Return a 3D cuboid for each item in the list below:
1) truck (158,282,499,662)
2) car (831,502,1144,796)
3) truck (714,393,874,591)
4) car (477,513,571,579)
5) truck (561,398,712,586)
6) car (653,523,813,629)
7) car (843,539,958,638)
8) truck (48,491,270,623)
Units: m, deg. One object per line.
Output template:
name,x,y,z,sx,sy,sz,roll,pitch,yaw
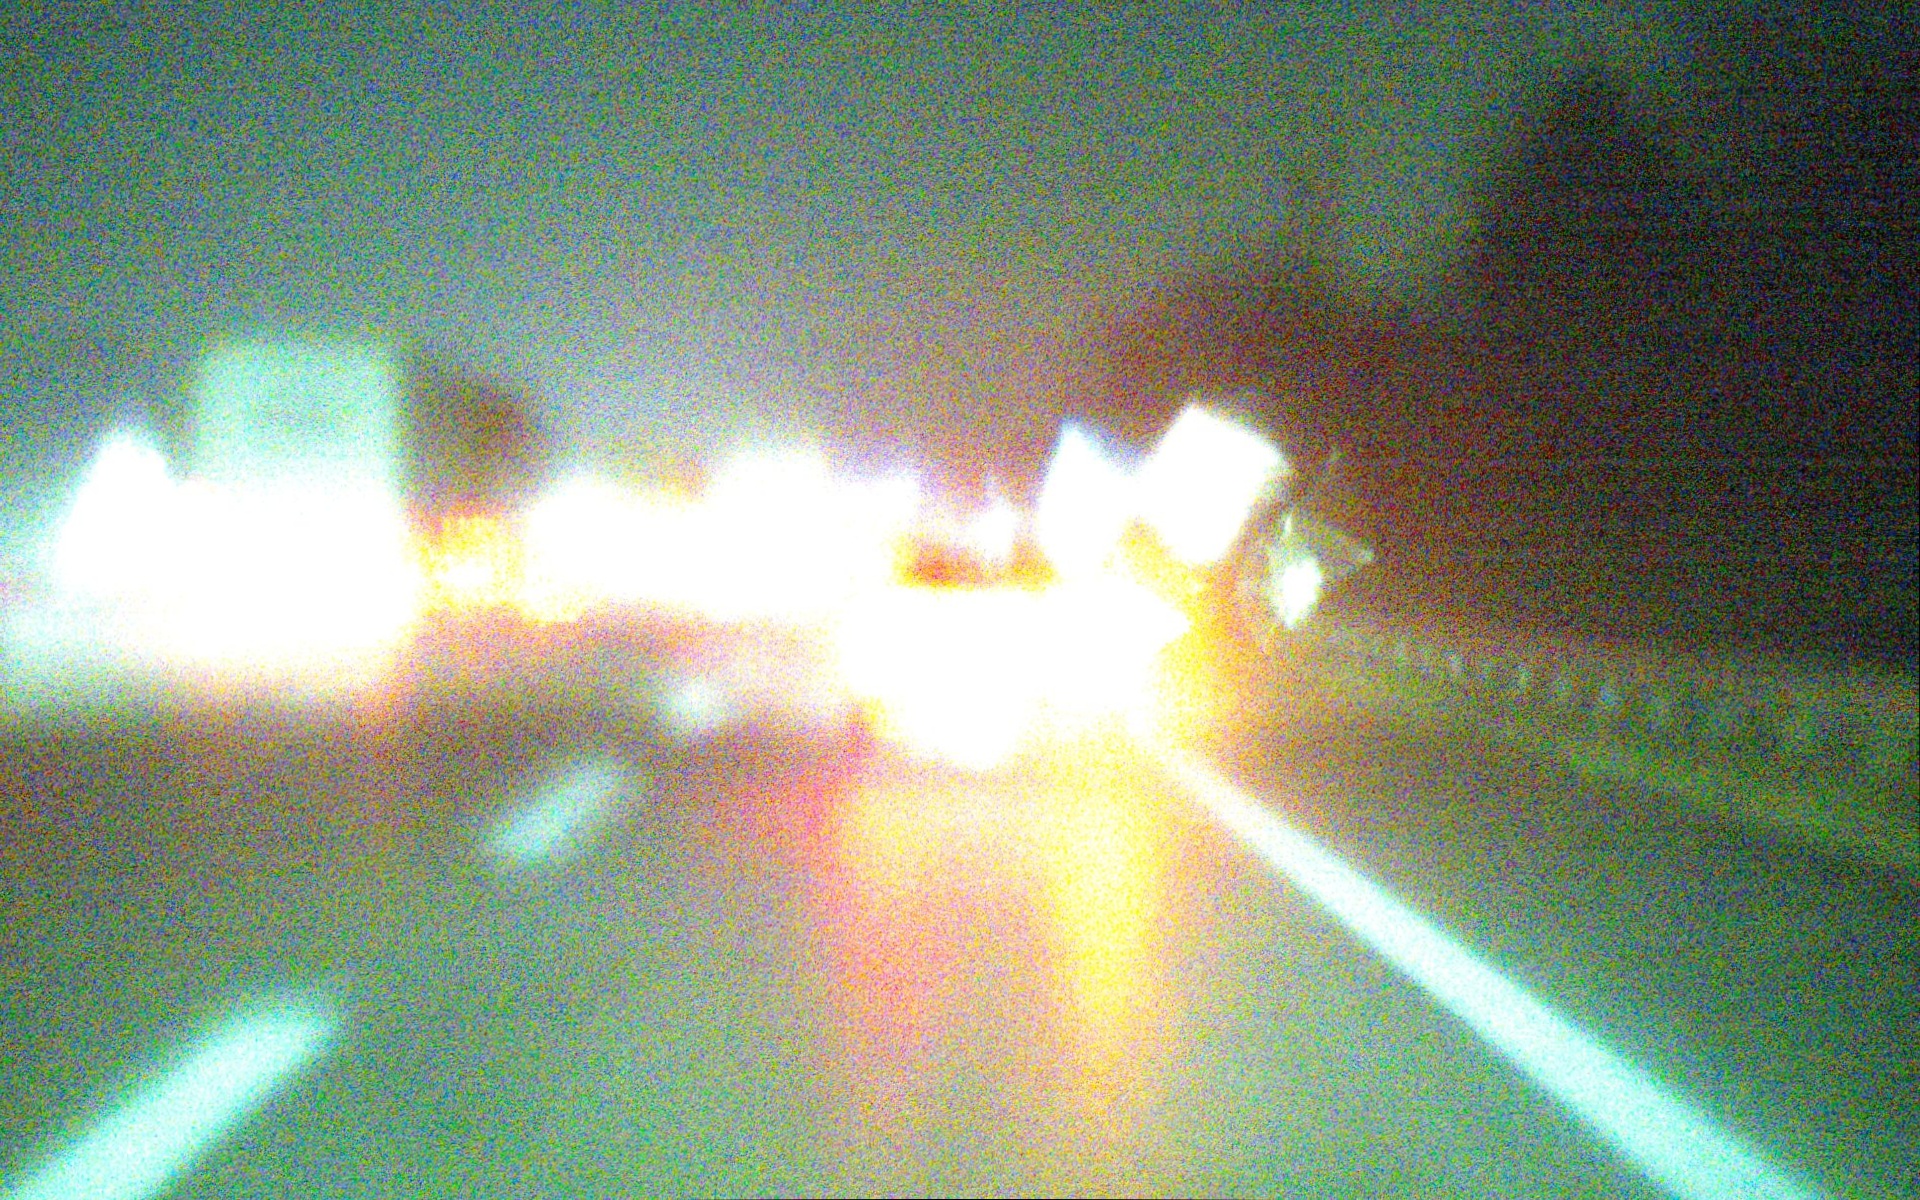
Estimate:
truck,-8.624,-1.690,48.311,3.655,4.721,9.854,1,1,-5
car,0.177,0.271,22.976,1.878,1.756,4.000,1,1,0
truck,-4.686,-2.952,96.621,4.161,5.197,9.955,1,1,-3
car,-11.868,-1.470,93.741,1.993,1.698,4.459,1,1,0
truck,-9.857,-3.251,106.005,4.253,5.425,10.886,1,1,-4
car,-4.533,-0.504,69.492,2.833,2.007,5.510,1,1,0
car,-1.051,-0.234,62.597,1.993,1.698,4.459,1,1,0
truck,-14.230,-0.779,61.497,2.857,2.193,5.859,1,1,-3
